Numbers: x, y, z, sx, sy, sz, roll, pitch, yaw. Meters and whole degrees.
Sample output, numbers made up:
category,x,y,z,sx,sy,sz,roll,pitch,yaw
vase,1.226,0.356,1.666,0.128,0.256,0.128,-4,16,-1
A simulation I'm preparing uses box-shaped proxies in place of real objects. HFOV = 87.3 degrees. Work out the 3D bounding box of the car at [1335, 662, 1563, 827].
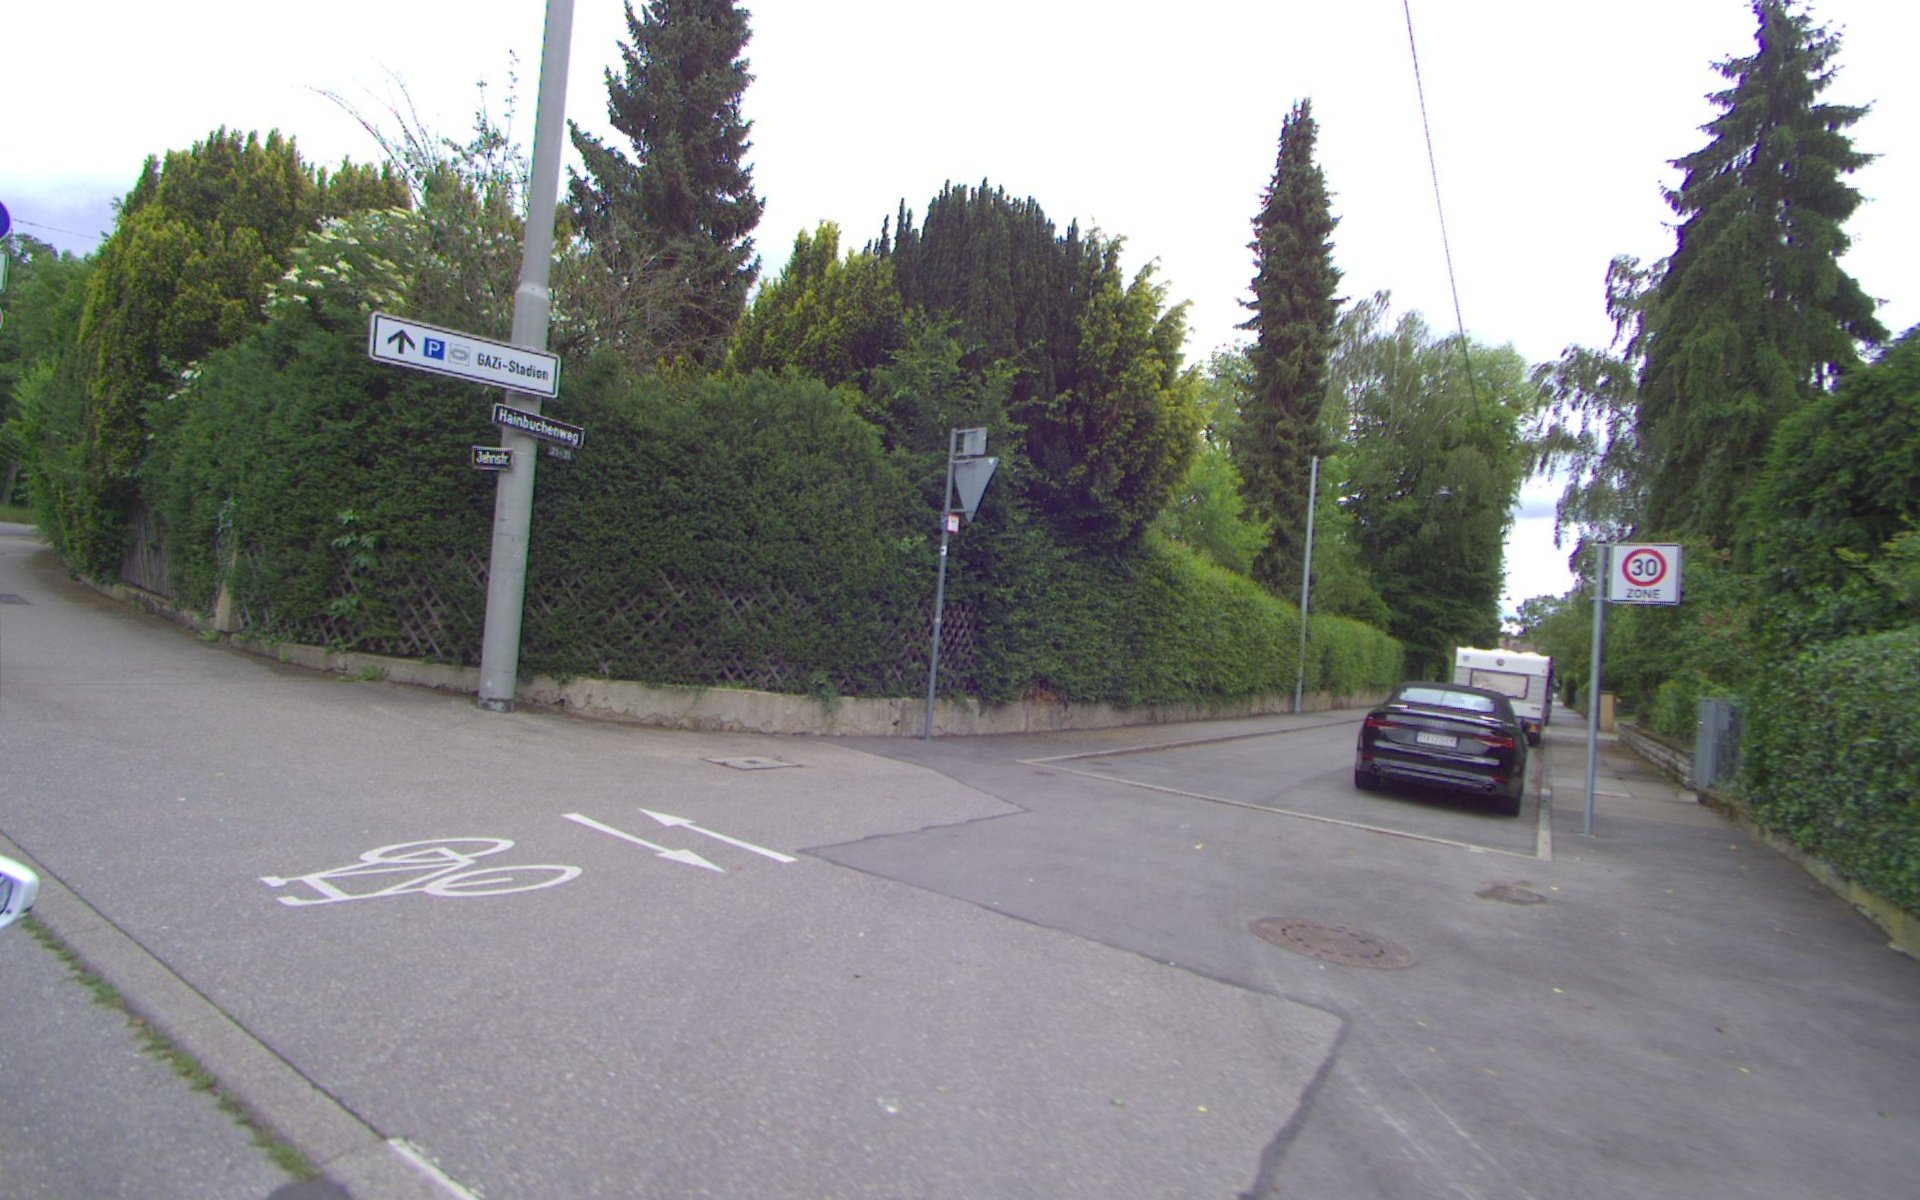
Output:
category,x,y,z,sx,sy,sz,roll,pitch,yaw
car,6.286,1.714,12.662,1.968,1.459,3.991,7,-1,33
